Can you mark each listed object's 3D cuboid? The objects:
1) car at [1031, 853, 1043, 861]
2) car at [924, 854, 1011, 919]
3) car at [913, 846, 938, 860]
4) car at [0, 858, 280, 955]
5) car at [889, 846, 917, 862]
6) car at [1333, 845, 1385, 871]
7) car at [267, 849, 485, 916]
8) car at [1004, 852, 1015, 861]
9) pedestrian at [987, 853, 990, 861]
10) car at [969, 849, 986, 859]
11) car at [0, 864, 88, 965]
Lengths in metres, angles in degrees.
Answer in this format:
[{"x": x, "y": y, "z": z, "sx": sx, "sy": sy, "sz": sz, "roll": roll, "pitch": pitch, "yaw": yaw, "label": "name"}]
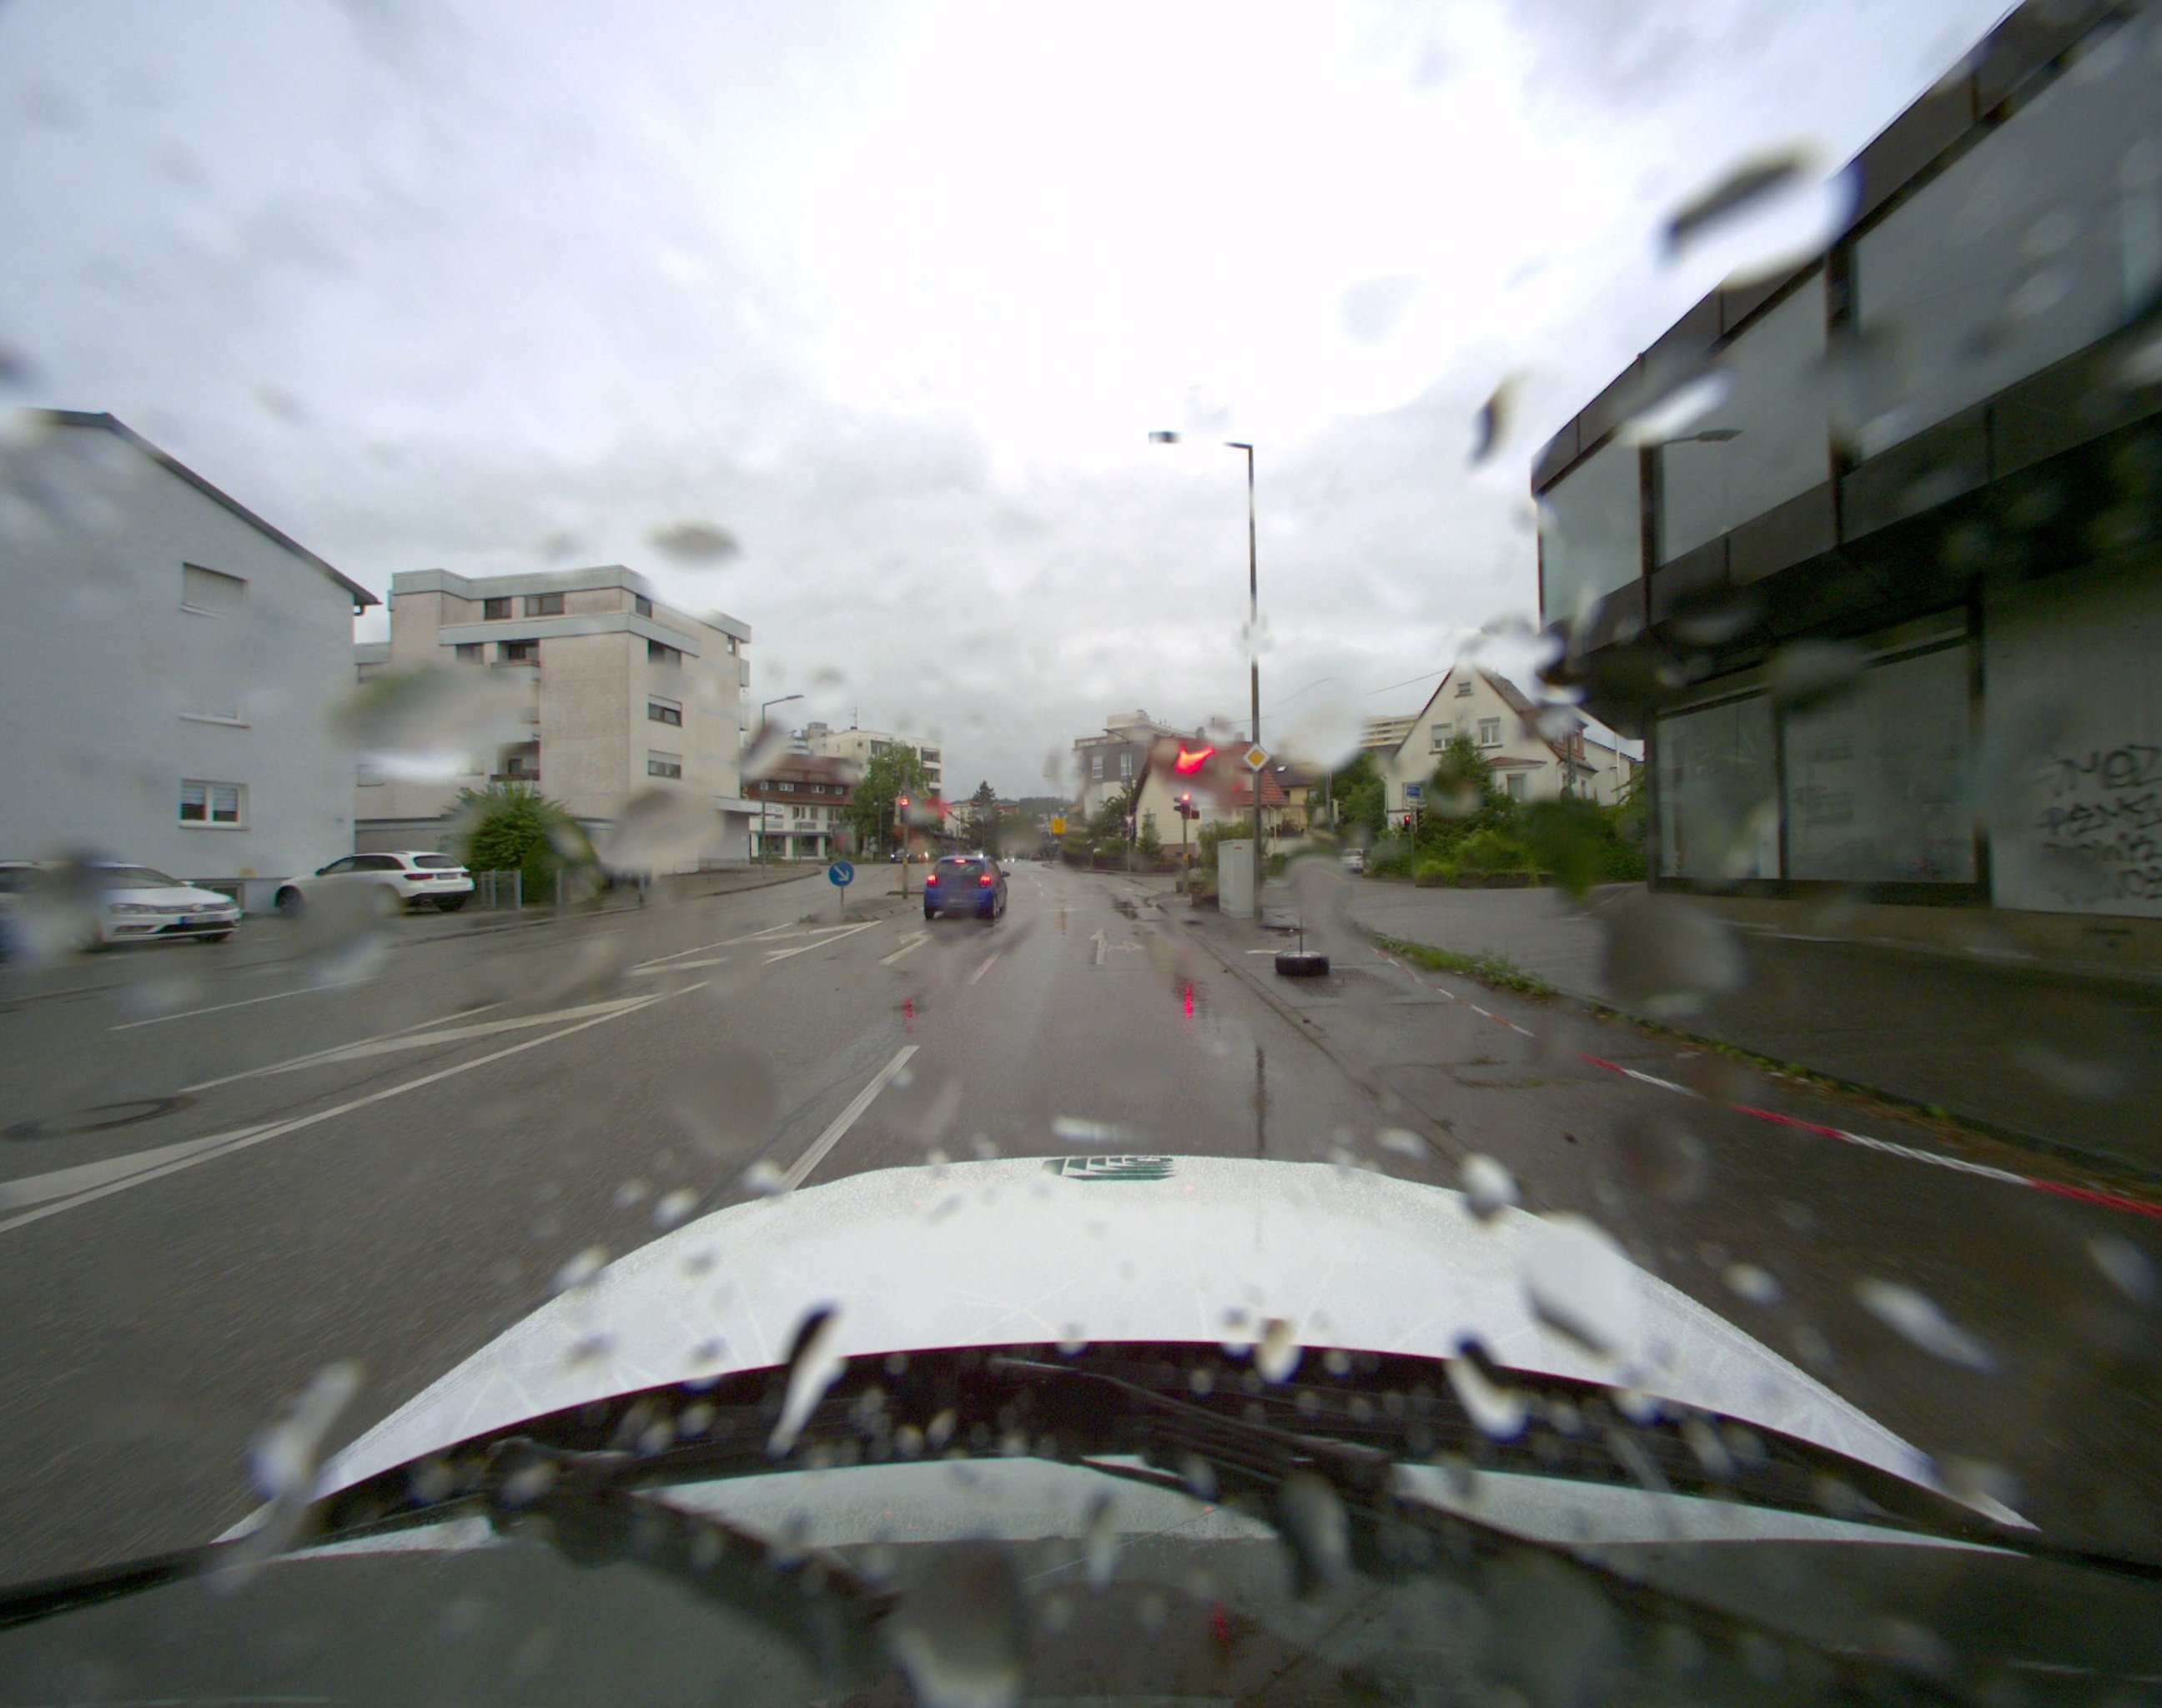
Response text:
[{"x": -8.128, "y": 0.549, "z": 149.303, "sx": 1.806, "sy": 1.486, "sz": 4.190, "roll": -2, "pitch": 0, "yaw": 1, "label": "car"}, {"x": -2.664, "y": 0.720, "z": 19.689, "sx": 1.573, "sy": 1.410, "sz": 3.271, "roll": 0, "pitch": 0, "yaw": 1, "label": "car"}, {"x": -16.178, "y": -0.080, "z": 84.821, "sx": 1.709, "sy": 1.387, "sz": 4.021, "roll": -1, "pitch": 1, "yaw": 1, "label": "car"}, {"x": -16.670, "y": 0.857, "z": 13.961, "sx": 4.198, "sy": 1.473, "sz": 1.908, "roll": -1, "pitch": 0, "yaw": 6, "label": "car"}, {"x": -16.918, "y": -0.012, "z": 77.593, "sx": 1.772, "sy": 1.420, "sz": 3.831, "roll": -1, "pitch": 1, "yaw": 1, "label": "car"}, {"x": 16.748, "y": 0.204, "z": 48.997, "sx": 1.723, "sy": 1.514, "sz": 4.026, "roll": 0, "pitch": 1, "yaw": 38, "label": "car"}, {"x": -18.548, "y": 0.735, "z": 21.507, "sx": 4.422, "sy": 1.636, "sz": 1.945, "roll": -1, "pitch": 0, "yaw": 10, "label": "car"}, {"x": -14.583, "y": 0.513, "z": 165.530, "sx": 1.749, "sy": 1.815, "sz": 3.862, "roll": -1, "pitch": 1, "yaw": 1, "label": "car"}, {"x": -18.411, "y": 0.606, "z": 161.776, "sx": 0.432, "sy": 1.658, "sz": 0.497, "roll": -1, "pitch": 0, "yaw": -9, "label": "pedestrian"}, {"x": -14.535, "y": -0.041, "z": 114.598, "sx": 1.772, "sy": 1.420, "sz": 3.831, "roll": -1, "pitch": 1, "yaw": 1, "label": "car"}, {"x": -17.231, "y": 0.904, "z": 11.662, "sx": 3.966, "sy": 1.411, "sz": 1.908, "roll": -1, "pitch": 1, "yaw": 6, "label": "car"}]
